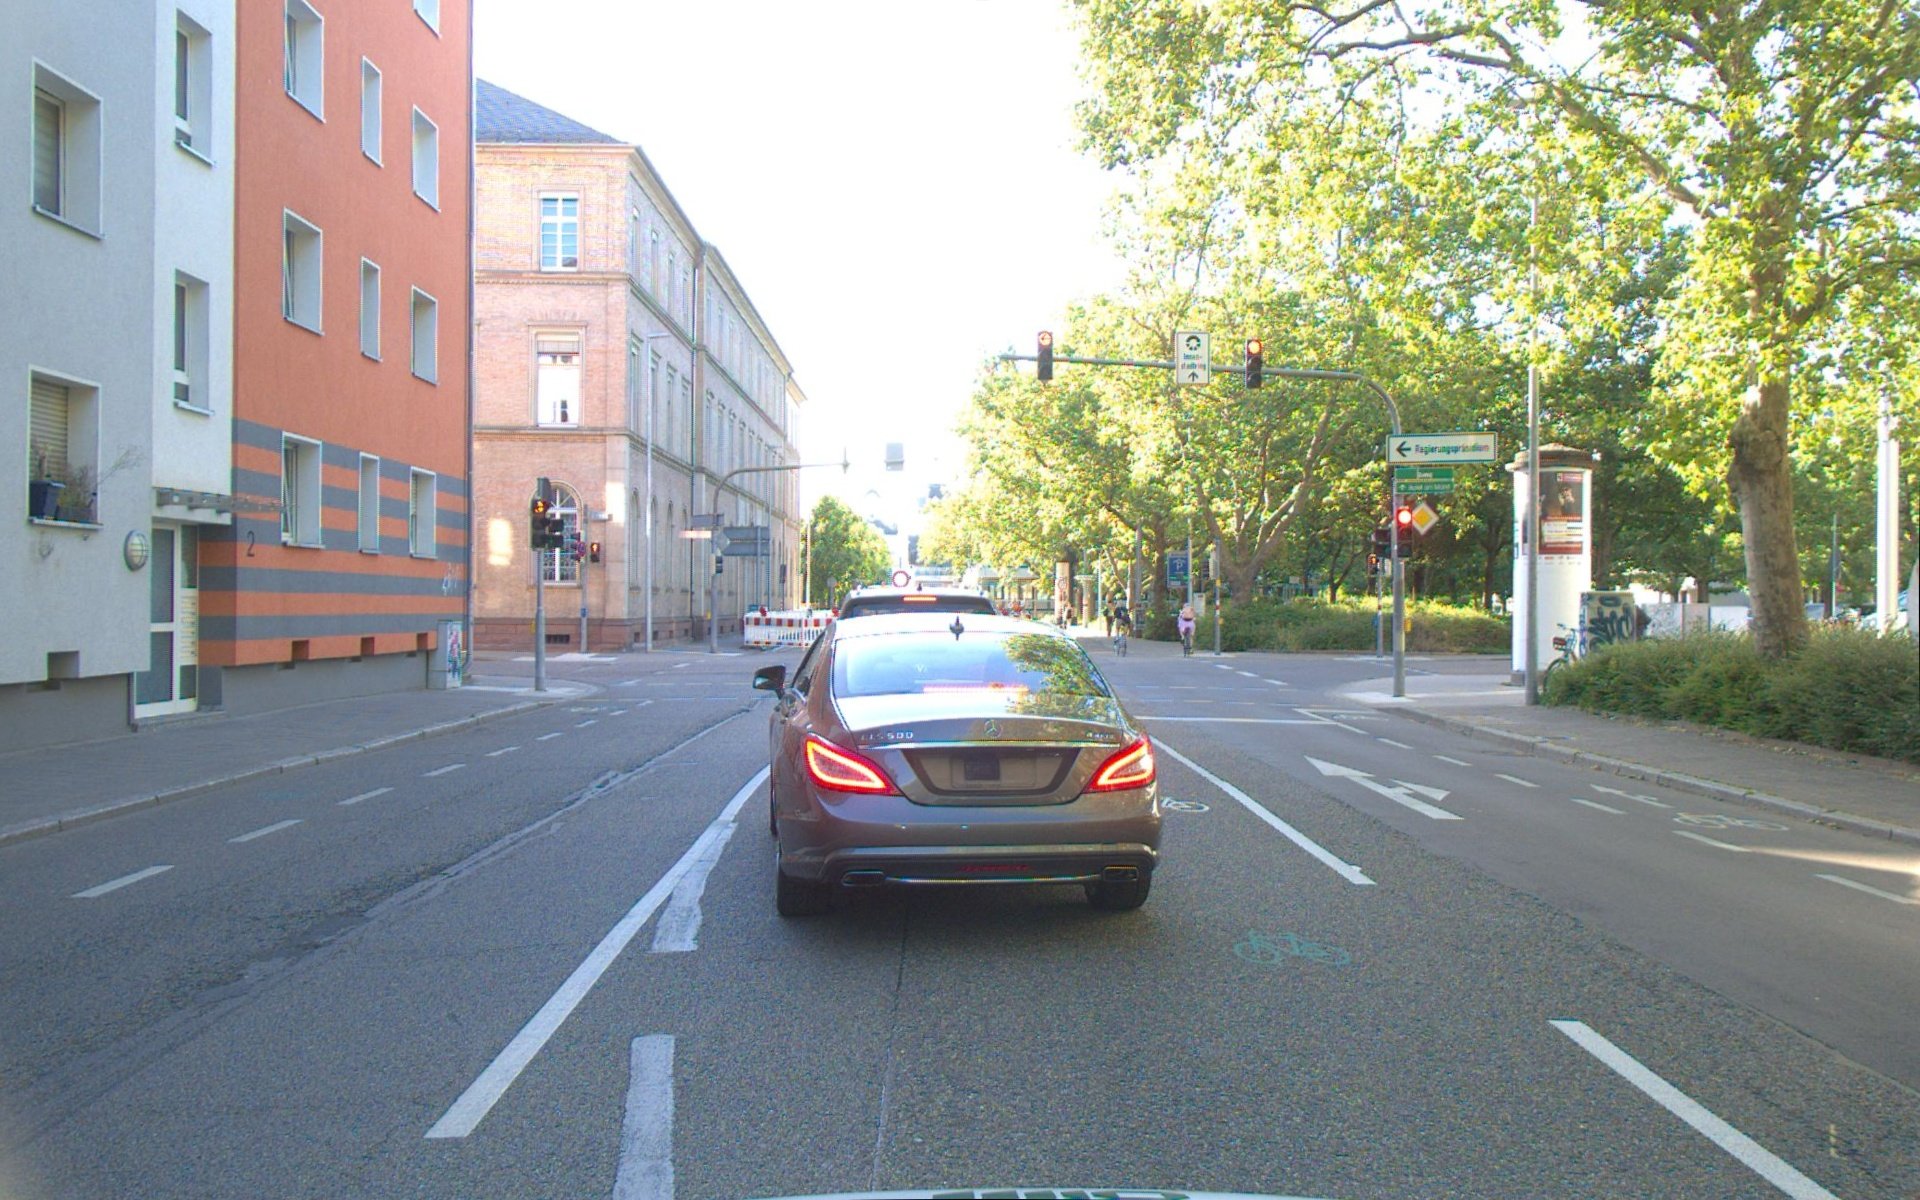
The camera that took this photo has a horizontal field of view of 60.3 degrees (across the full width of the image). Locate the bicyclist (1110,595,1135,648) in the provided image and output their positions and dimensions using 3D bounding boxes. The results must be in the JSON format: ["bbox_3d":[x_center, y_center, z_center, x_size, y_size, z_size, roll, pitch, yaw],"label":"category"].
[{"bbox_3d":[4.874,0.644,49.719,0.598,1.542,0.889,2,0,-1],"label":"bicyclist"}]

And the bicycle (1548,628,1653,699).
[{"bbox_3d":[9.696,0.959,25.058,1.387,1.055,0.538,0,0,-5],"label":"bicycle"}]

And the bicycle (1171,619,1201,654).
[{"bbox_3d":[6.770,1.092,49.686,0.588,1.002,1.881,2,0,-1],"label":"bicycle"}]

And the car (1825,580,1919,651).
[{"bbox_3d":[25.448,0.408,43.926,3.912,1.815,2.001,0,0,4],"label":"car"}]

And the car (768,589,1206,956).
[{"bbox_3d":[-0.119,0.717,9.070,1.787,1.502,4.346,0,0,-8],"label":"car"}]

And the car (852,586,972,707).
[{"bbox_3d":[-0.725,0.646,24.641,1.647,1.653,3.839,0,0,-2],"label":"car"}]

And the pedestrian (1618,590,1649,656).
[{"bbox_3d":[18.704,0.629,45.911,0.607,1.815,0.630,0,0,1],"label":"pedestrian"}]

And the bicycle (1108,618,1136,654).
[{"bbox_3d":[4.865,1.074,49.785,0.598,1.044,1.731,2,0,-1],"label":"bicycle"}]

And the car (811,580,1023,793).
[{"bbox_3d":[-0.400,0.680,14.826,1.647,1.653,3.839,0,0,-2],"label":"car"}]

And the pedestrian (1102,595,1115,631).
[{"bbox_3d":[7.017,0.600,78.111,0.548,1.707,0.564,0,0,-1],"label":"pedestrian"}]

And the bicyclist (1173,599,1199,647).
[{"bbox_3d":[6.781,0.687,49.614,0.588,1.426,0.931,2,0,-1],"label":"bicyclist"}]
